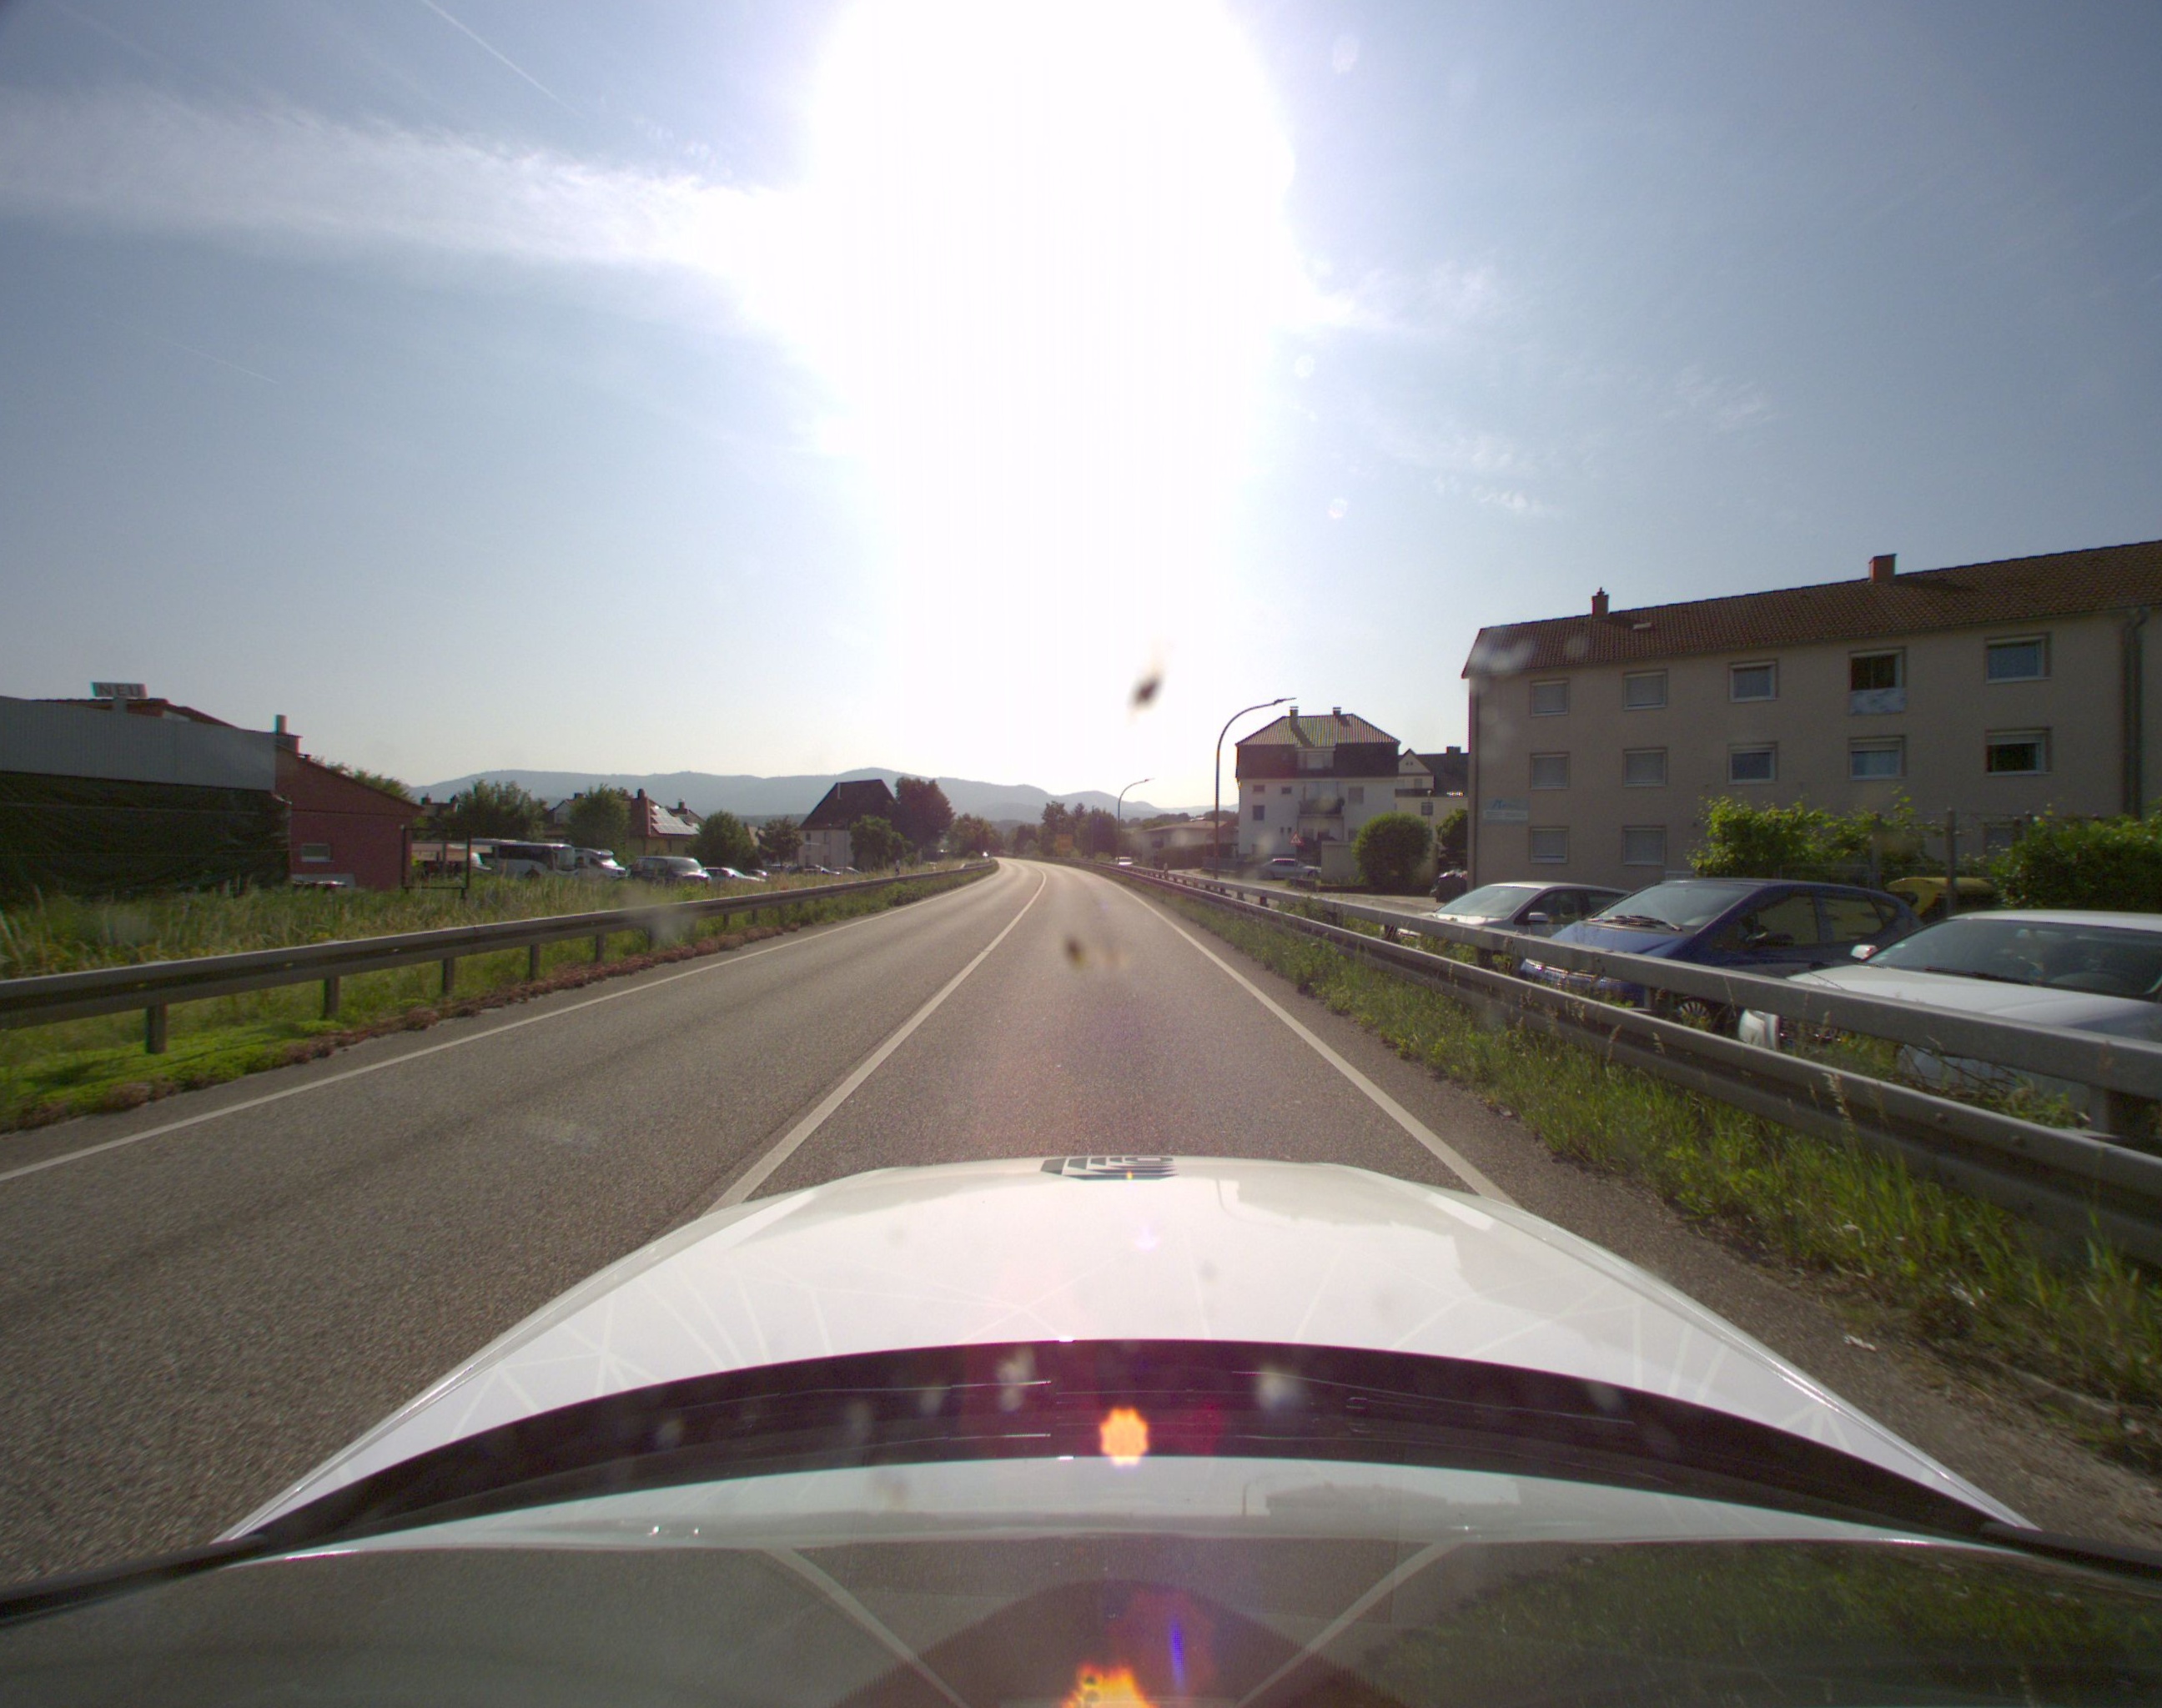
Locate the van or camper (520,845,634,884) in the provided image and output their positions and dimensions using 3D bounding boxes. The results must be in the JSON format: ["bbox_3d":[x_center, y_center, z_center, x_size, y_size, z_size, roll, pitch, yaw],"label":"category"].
[{"bbox_3d":[-39.452,0.809,63.858,7.359,2.842,2.751,1,0,5],"label":"van or camper"}]

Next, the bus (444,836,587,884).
[{"bbox_3d":[-41.835,0.402,60.366,9.055,3.354,2.669,1,1,5],"label":"bus"}]

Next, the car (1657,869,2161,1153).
[{"bbox_3d":[6.339,0.949,5.415,3.985,1.450,1.759,4,-1,-9],"label":"car"}]

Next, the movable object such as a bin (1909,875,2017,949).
[{"bbox_3d":[17.968,1.141,16.604,1.274,1.404,1.090,0,0,-20],"label":"movable object such as a bin"}]

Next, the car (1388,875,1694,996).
[{"bbox_3d":[5.943,1.033,10.656,3.264,1.376,1.543,2,-2,-11],"label":"car"}]

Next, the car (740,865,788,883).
[{"bbox_3d":[-33.339,2.141,85.675,4.134,1.634,1.866,3,-2,8],"label":"car"}]

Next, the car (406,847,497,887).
[{"bbox_3d":[-43.919,0.896,56.899,4.998,2.660,1.864,1,0,5],"label":"car"}]

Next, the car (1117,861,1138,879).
[{"bbox_3d":[5.311,1.804,93.800,1.987,1.945,5.359,0,0,-1],"label":"car"}]

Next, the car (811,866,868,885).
[{"bbox_3d":[-20.743,1.833,69.978,4.287,1.504,1.873,0,0,-2],"label":"car"}]

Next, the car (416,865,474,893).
[{"bbox_3d":[-26.907,1.067,34.479,0.811,1.146,2.016,0,-1,1],"label":"car"}]

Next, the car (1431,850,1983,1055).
[{"bbox_3d":[5.890,0.899,7.876,4.235,1.572,1.911,4,-1,-11],"label":"car"}]

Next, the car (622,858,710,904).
[{"bbox_3d":[-19.737,1.220,38.629,4.843,2.013,2.012,0,0,41],"label":"car"}]

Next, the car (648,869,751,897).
[{"bbox_3d":[-20.317,1.515,43.524,4.609,1.382,1.739,0,0,-6],"label":"car"}]

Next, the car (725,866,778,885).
[{"bbox_3d":[-33.032,2.129,81.715,4.528,1.634,1.867,3,-2,12],"label":"car"}]

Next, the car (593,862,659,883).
[{"bbox_3d":[-38.082,1.530,68.184,4.536,1.633,1.864,1,0,5],"label":"car"}]

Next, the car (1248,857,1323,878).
[{"bbox_3d":[13.682,0.907,54.581,4.554,1.348,1.765,-1,1,25],"label":"car"}]
